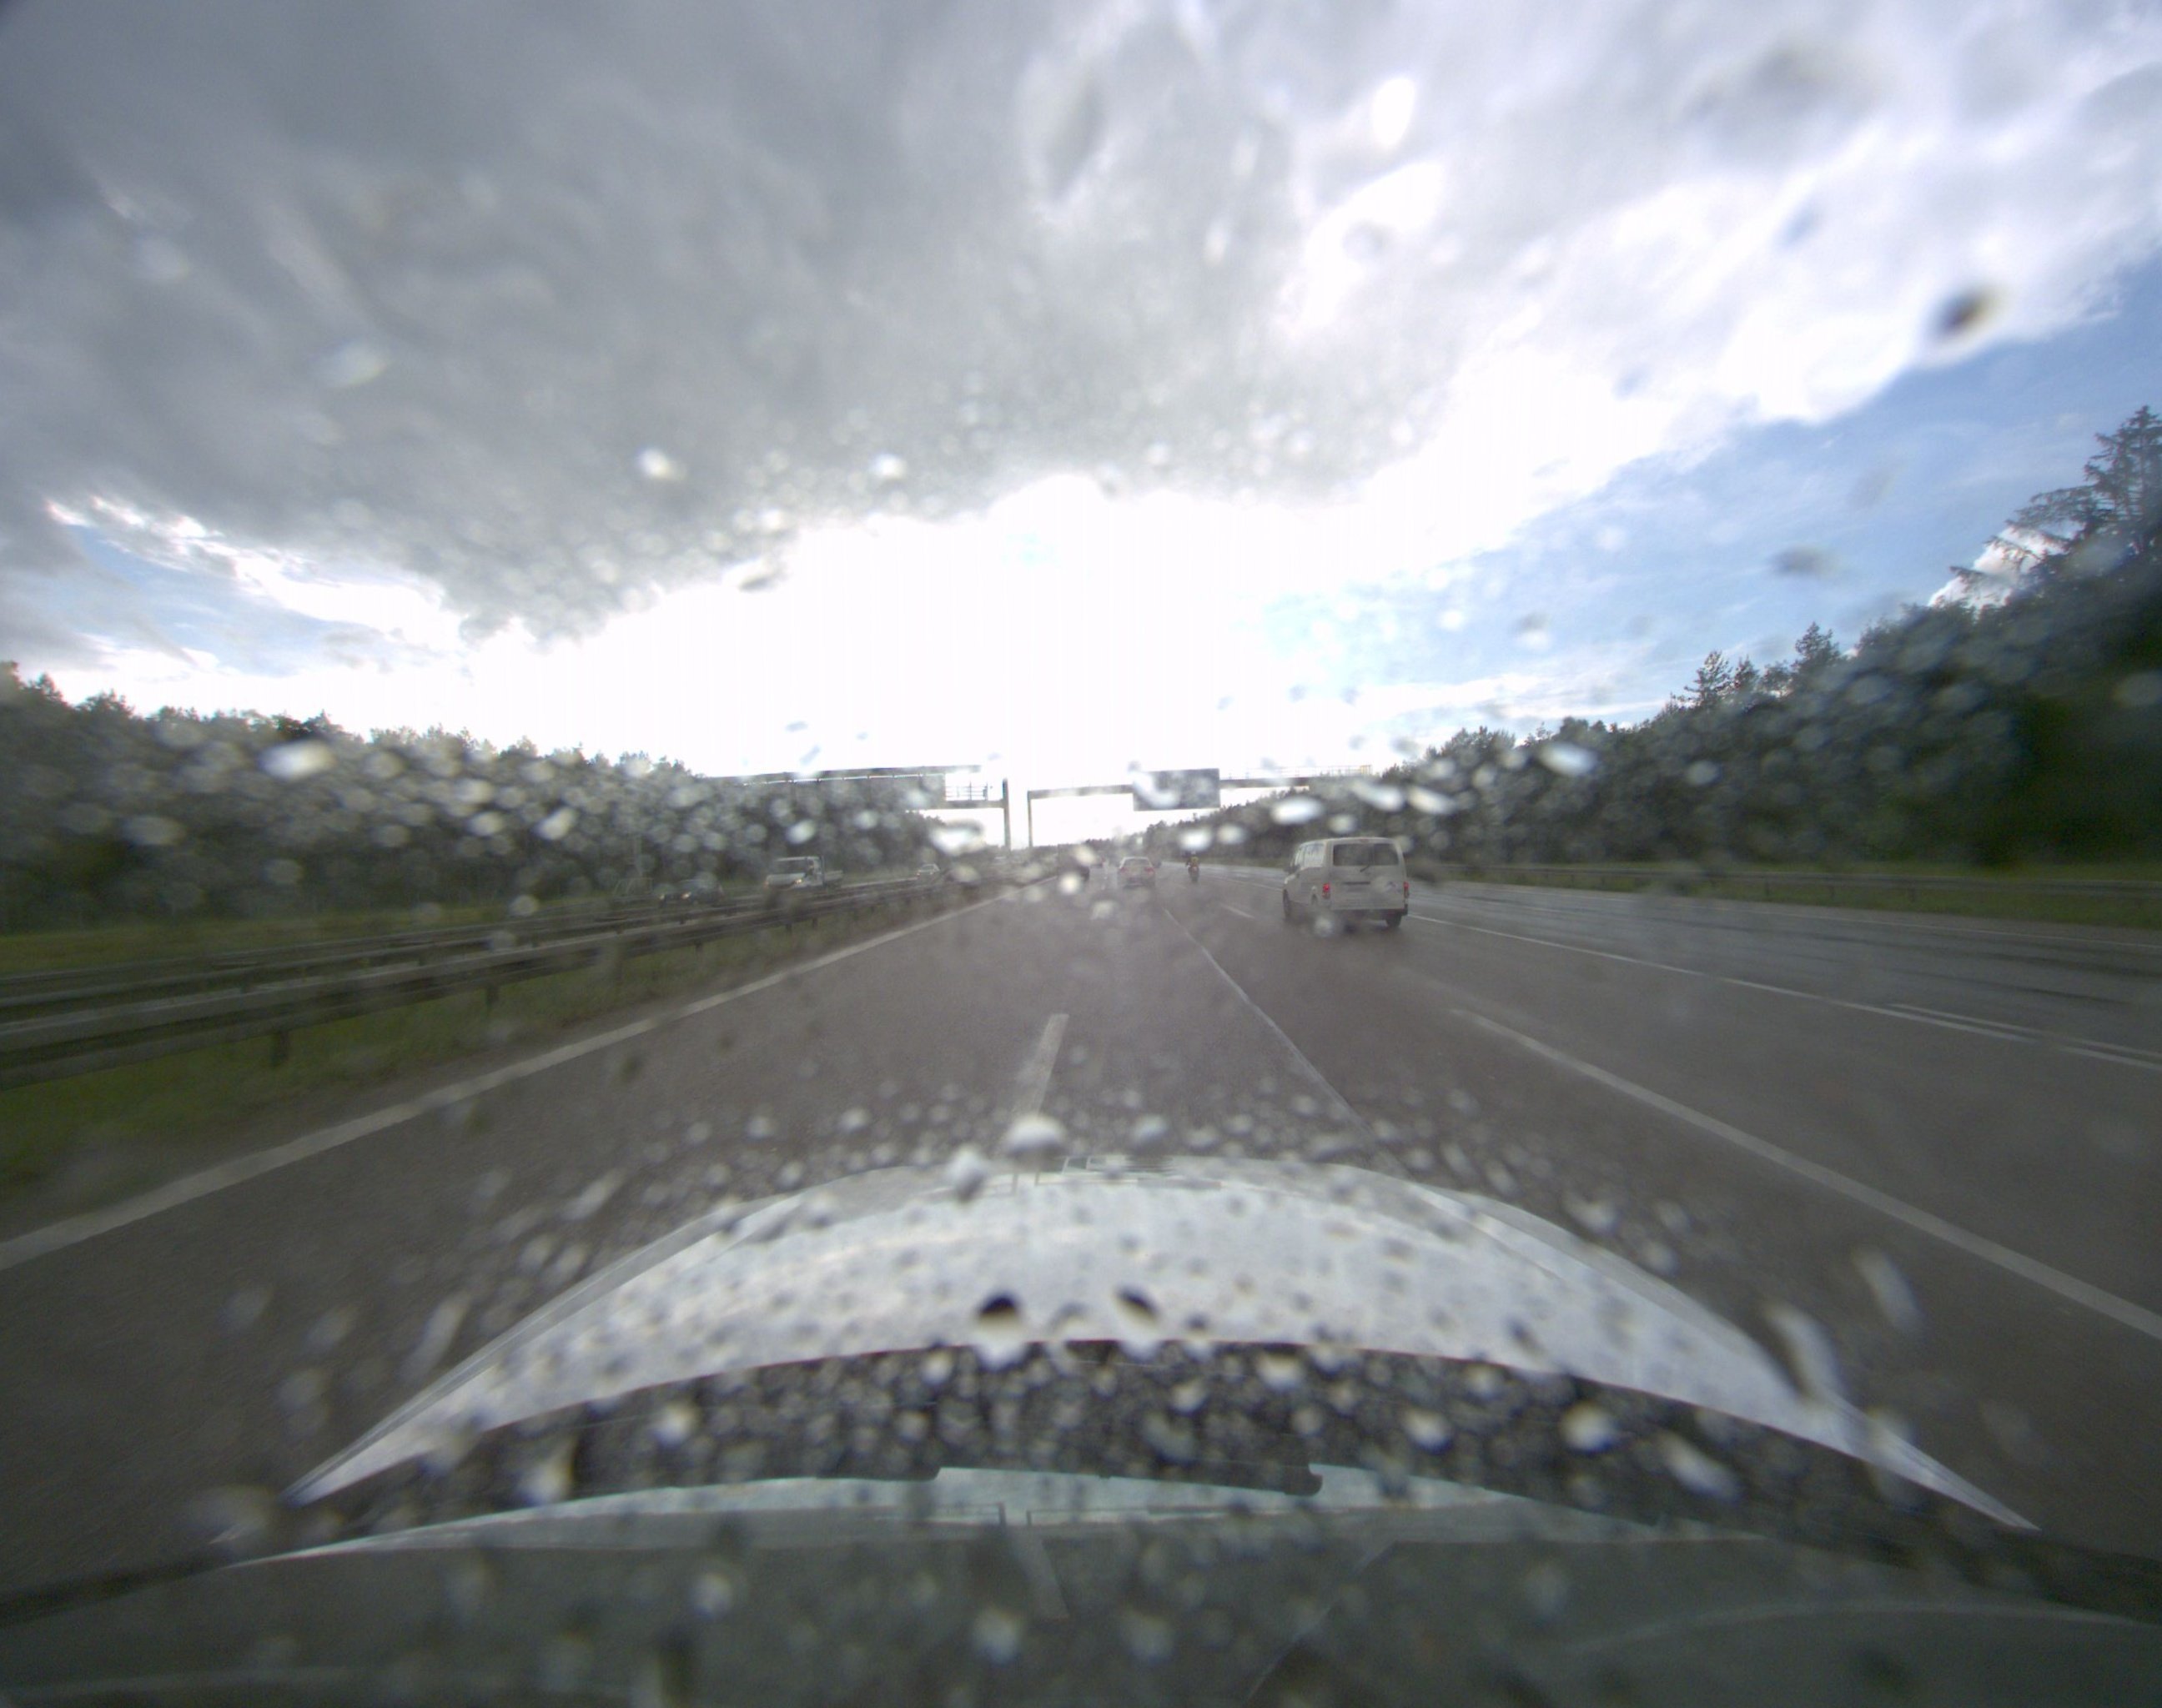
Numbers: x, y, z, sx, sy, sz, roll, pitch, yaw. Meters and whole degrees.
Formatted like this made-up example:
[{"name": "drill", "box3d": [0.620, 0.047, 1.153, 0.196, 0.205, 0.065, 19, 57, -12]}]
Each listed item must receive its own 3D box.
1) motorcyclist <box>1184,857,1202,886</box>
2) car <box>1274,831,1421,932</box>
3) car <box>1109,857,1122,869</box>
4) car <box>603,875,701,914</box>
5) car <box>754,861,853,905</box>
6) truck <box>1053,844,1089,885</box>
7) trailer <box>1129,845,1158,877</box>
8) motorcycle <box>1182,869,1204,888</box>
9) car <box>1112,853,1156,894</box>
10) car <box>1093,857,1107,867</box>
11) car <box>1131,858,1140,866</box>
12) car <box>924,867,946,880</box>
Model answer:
[{"name": "motorcyclist", "box3d": [6.272, 0.968, 45.792, 0.888, 1.615, 0.959, -1, -1, 1]}, {"name": "car", "box3d": [5.643, 0.544, 17.954, 1.954, 1.902, 4.887, -1, 0, 4]}, {"name": "car", "box3d": [5.811, 1.539, 137.539, 1.902, 2.014, 4.000, -1, -1, 0]}, {"name": "car", "box3d": [-18.381, 1.697, 35.126, 1.666, 1.460, 4.563, -2, -1, 2]}, {"name": "car", "box3d": [-13.918, 1.363, 41.443, 2.273, 2.014, 6.746, 0, 0, 4]}, {"name": "truck", "box3d": [-0.595, 0.650, 52.083, 2.131, 2.489, 5.311, -1, -1, 0]}, {"name": "trailer", "box3d": [8.484, 1.004, 112.071, 2.318, 4.002, 13.396, -1, -1, -3]}, {"name": "motorcycle", "box3d": [6.285, 1.375, 45.771, 0.996, 1.031, 2.174, -1, -1, 1]}, {"name": "car", "box3d": [2.727, 0.968, 41.473, 2.068, 1.885, 5.016, -1, -1, 4]}, {"name": "car", "box3d": [2.701, 1.118, 115.057, 1.824, 1.466, 4.001, -1, -1, 1]}, {"name": "car", "box3d": [13.872, 2.042, 206.339, 1.987, 2.014, 4.000, 0, -1, 0]}, {"name": "car", "box3d": [-15.744, 2.112, 88.114, 1.619, 1.258, 3.842, -1, 0, 1]}]
